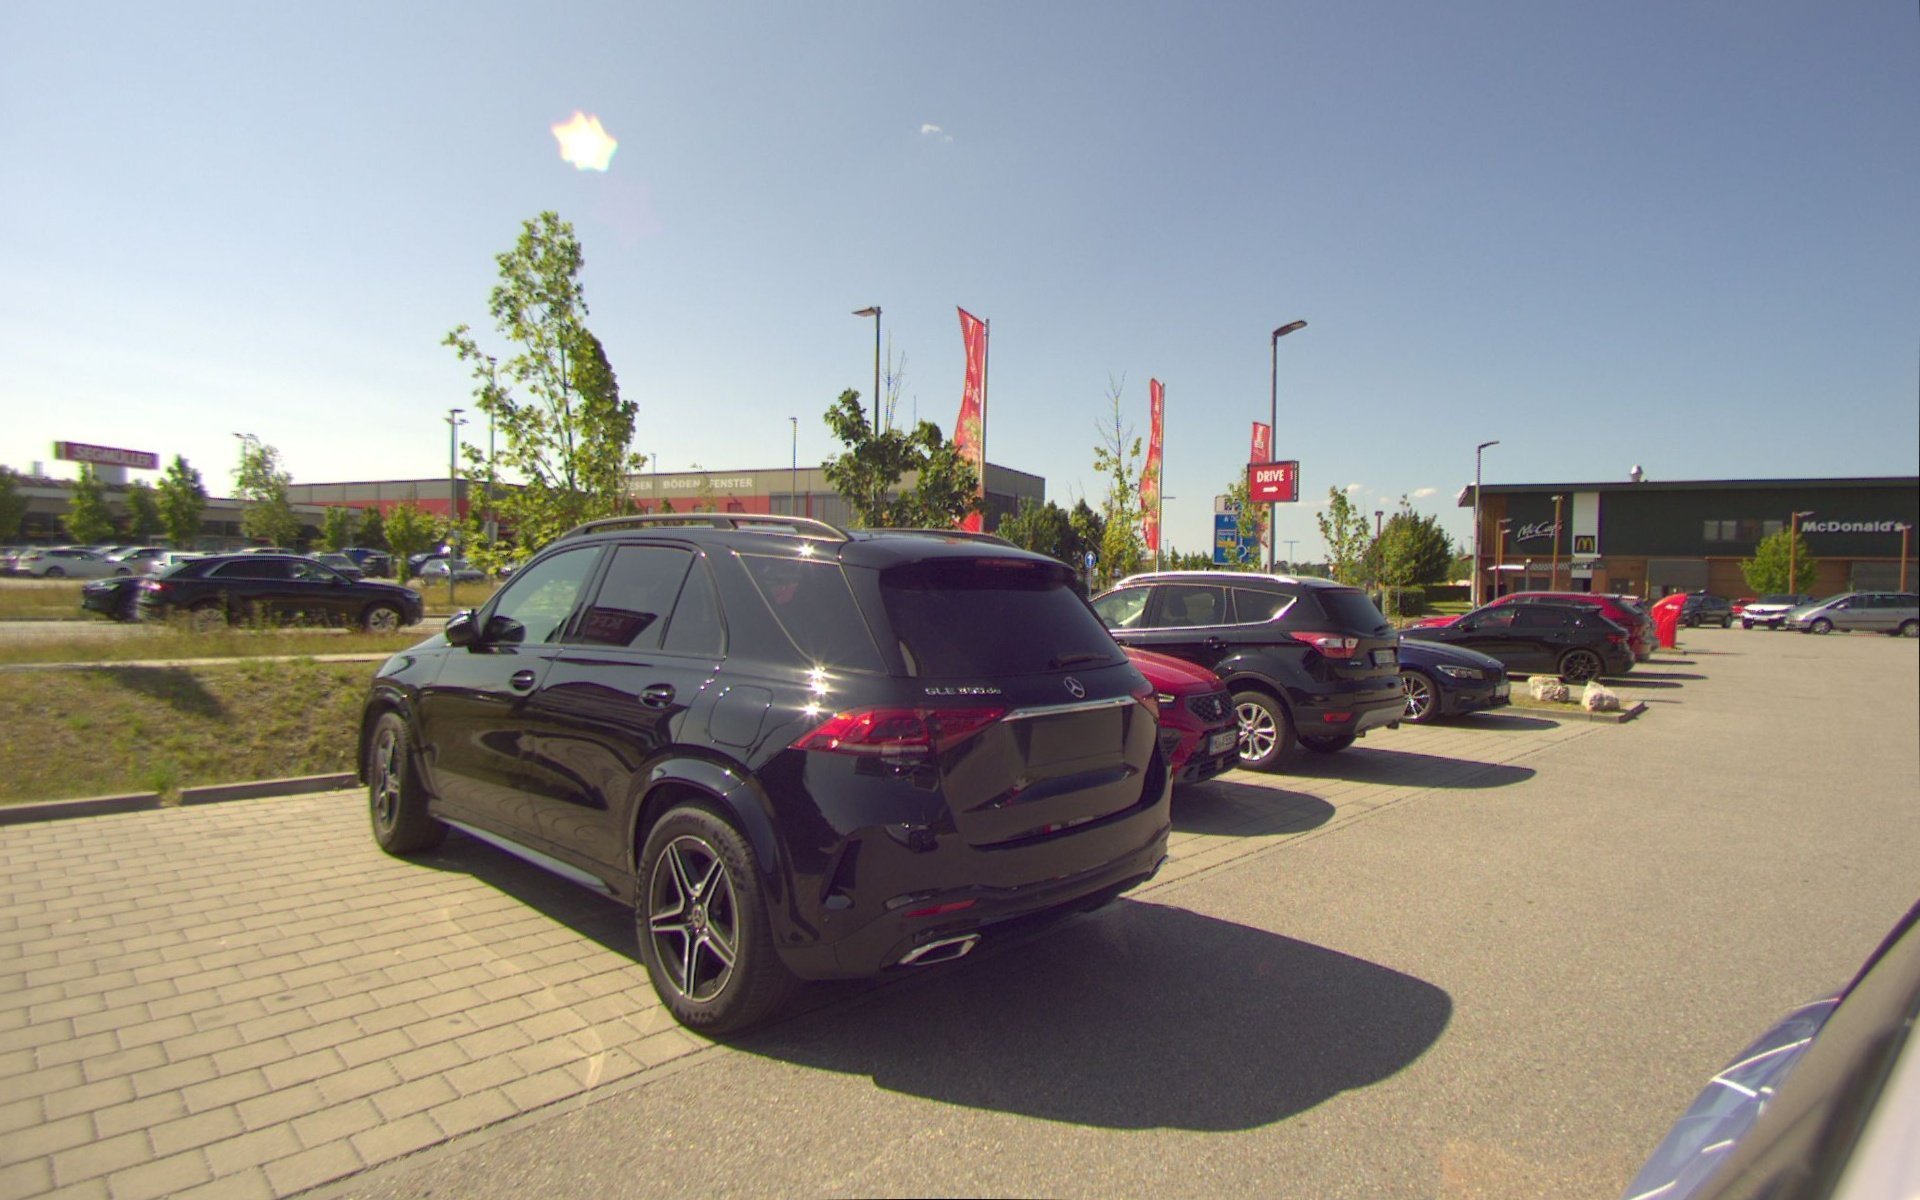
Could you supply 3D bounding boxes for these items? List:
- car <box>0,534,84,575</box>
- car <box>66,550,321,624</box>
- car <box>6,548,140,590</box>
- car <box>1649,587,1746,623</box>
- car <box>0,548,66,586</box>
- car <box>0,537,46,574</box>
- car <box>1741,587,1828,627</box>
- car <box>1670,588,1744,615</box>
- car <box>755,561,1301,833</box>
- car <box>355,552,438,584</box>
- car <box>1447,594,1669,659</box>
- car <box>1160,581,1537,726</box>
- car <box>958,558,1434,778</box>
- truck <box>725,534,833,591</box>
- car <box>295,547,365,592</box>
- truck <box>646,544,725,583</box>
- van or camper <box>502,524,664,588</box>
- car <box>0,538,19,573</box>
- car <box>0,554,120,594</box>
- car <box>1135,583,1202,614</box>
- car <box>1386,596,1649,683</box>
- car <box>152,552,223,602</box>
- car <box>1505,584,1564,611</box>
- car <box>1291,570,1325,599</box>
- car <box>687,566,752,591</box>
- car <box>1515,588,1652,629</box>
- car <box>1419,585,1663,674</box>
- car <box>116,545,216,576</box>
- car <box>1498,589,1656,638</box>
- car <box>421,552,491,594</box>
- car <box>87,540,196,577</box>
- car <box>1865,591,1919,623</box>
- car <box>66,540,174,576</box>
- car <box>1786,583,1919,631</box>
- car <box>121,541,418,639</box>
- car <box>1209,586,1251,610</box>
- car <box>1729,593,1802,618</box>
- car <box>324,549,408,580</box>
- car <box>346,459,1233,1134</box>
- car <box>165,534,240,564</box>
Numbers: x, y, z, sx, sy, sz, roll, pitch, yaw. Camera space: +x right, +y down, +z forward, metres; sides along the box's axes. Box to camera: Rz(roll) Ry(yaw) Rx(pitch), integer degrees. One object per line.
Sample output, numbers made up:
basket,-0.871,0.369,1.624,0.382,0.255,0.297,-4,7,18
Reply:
car,-46.395,-2.228,49.967,1.935,1.879,4.368,1,1,24
car,-18.831,-0.305,25.056,1.991,1.645,4.736,2,1,40
car,-41.686,-1.419,47.681,1.935,1.879,4.368,1,1,24
car,33.677,0.223,46.191,4.121,1.545,1.978,1,1,-28
car,-48.763,-1.716,51.631,1.935,1.879,4.368,1,1,24
car,-50.962,-2.371,52.879,1.935,1.879,4.368,1,1,24
car,36.568,0.300,44.854,4.127,1.675,1.975,1,1,-36
car,48.013,0.098,65.041,4.375,1.622,1.966,1,1,-26
car,0.391,0.560,8.103,4.062,1.629,1.868,1,0,40
car,-35.989,-2.018,64.725,1.935,1.879,4.368,1,1,24
car,14.604,0.587,24.869,4.570,1.430,1.719,1,1,34
car,5.120,0.574,13.763,4.438,1.658,1.865,1,1,45
car,2.175,0.501,10.132,4.317,1.724,1.866,1,1,43
truck,-11.906,-2.447,66.404,6.776,3.524,2.739,2,1,31
car,-27.995,-1.330,44.896,1.922,1.879,4.397,1,1,-41
truck,-21.485,-2.806,79.566,1.935,2.850,6.999,1,1,24
van or camper,-20.356,-2.294,54.848,7.896,3.140,2.421,1,1,-32
car,-53.271,-2.436,53.814,1.935,1.879,4.368,1,1,24
car,-44.066,-1.236,49.390,1.935,1.879,4.368,1,1,24
car,11.166,-0.086,53.919,1.986,1.546,4.602,2,1,33
car,10.422,0.660,19.035,4.179,1.428,1.751,1,1,35
car,-31.226,-0.933,40.874,1.965,1.879,4.279,1,1,-41
car,38.370,-0.139,67.555,4.159,1.712,1.996,0,2,-38
car,27.913,-1.259,81.125,1.979,2.224,5.061,1,1,25
car,-15.071,-1.356,63.297,3.933,1.478,1.638,2,1,30
car,24.190,0.297,39.390,4.447,1.487,1.813,0,1,32
car,12.009,0.520,21.038,4.208,1.658,1.924,1,1,38
car,-53.001,-2.622,67.667,1.935,1.879,4.910,1,1,24
car,20.009,0.390,32.986,4.319,1.487,1.813,0,1,32
car,-24.268,-1.299,48.678,1.922,1.879,4.397,1,1,-41
car,-45.676,-2.304,56.584,1.935,1.879,4.368,1,1,24
car,46.875,0.349,49.095,1.676,1.511,4.124,0,1,-19
car,-47.751,-2.365,57.637,1.935,1.879,4.368,1,1,24
car,35.888,0.250,40.030,4.633,1.770,1.818,1,1,25
car,-13.907,-0.197,20.610,1.993,1.754,4.686,2,1,42
car,19.044,-0.146,71.192,1.981,1.546,4.614,2,1,27
car,49.881,0.356,62.641,4.377,1.484,1.965,1,1,-29
car,-38.661,-2.277,65.978,1.935,1.879,4.368,1,1,24
car,-1.206,0.483,4.923,4.573,1.782,1.867,1,1,43
car,-55.493,-3.693,74.215,1.981,2.039,3.962,1,1,27
